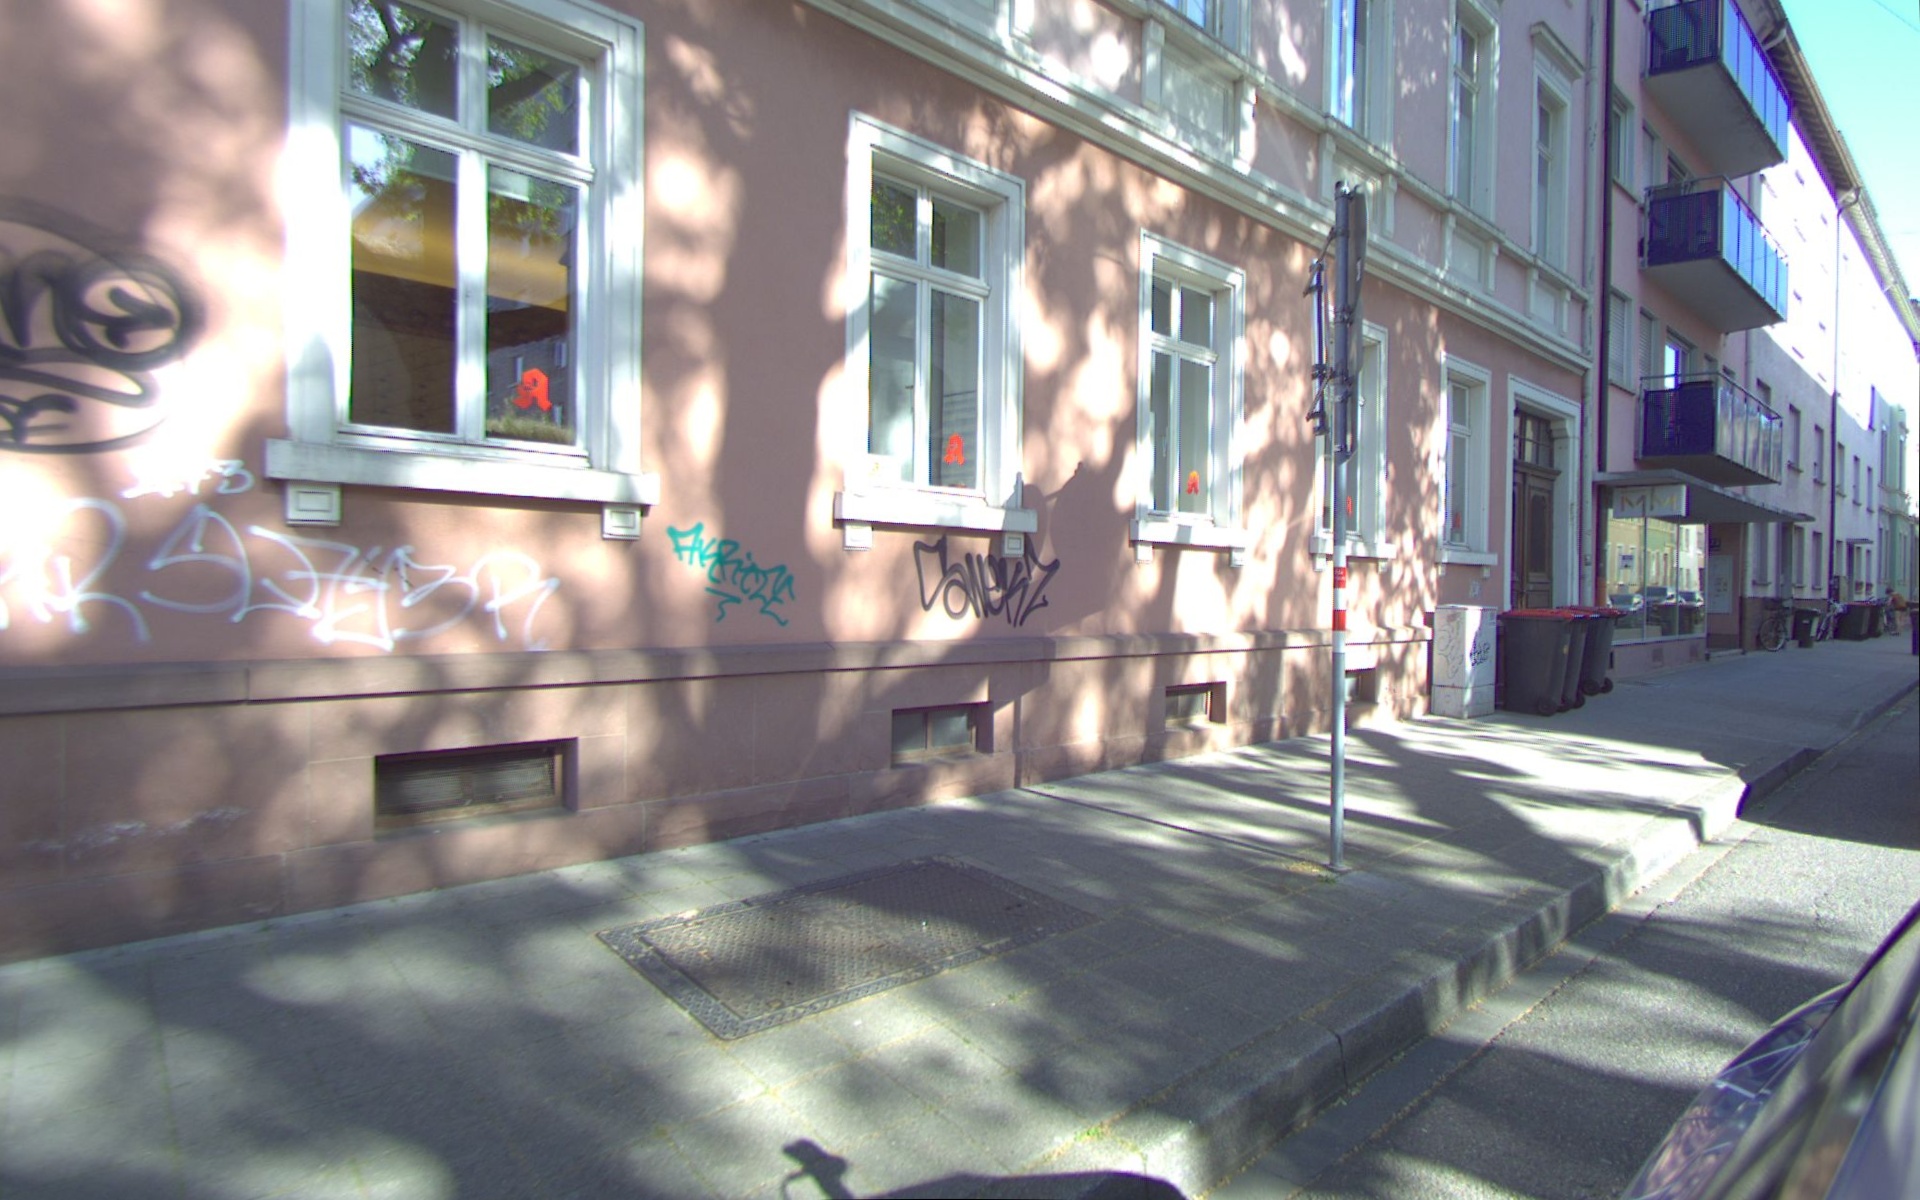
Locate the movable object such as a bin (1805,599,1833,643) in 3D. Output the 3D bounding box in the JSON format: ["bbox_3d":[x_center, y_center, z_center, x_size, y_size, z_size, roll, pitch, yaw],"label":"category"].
[{"bbox_3d":[19.736,0.478,23.256,0.297,0.951,0.415,0,3,-43],"label":"movable object such as a bin"}]

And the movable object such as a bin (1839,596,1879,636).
[{"bbox_3d":[24.797,0.432,27.923,0.537,1.014,0.716,0,4,-43],"label":"movable object such as a bin"}]

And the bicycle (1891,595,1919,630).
[{"bbox_3d":[31.029,0.383,33.216,1.899,1.110,0.489,0,1,-41],"label":"bicycle"}]

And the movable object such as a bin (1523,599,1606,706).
[{"bbox_3d":[6.535,0.545,10.939,0.601,1.071,0.570,0,4,-43],"label":"movable object such as a bin"}]

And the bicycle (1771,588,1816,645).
[{"bbox_3d":[17.832,0.337,21.642,1.989,1.165,0.402,0,1,-41],"label":"bicycle"}]

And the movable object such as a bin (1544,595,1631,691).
[{"bbox_3d":[7.750,0.505,12.506,0.608,1.097,0.717,0,4,-43],"label":"movable object such as a bin"}]

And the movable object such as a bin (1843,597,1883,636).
[{"bbox_3d":[25.267,0.450,28.316,0.537,1.014,0.716,0,4,-43],"label":"movable object such as a bin"}]

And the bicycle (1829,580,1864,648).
[{"bbox_3d":[23.531,0.352,26.859,2.070,1.757,0.402,0,1,-41],"label":"bicycle"}]

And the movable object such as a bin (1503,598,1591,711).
[{"bbox_3d":[6.109,0.543,10.529,0.643,1.097,0.570,0,4,-43],"label":"movable object such as a bin"}]
